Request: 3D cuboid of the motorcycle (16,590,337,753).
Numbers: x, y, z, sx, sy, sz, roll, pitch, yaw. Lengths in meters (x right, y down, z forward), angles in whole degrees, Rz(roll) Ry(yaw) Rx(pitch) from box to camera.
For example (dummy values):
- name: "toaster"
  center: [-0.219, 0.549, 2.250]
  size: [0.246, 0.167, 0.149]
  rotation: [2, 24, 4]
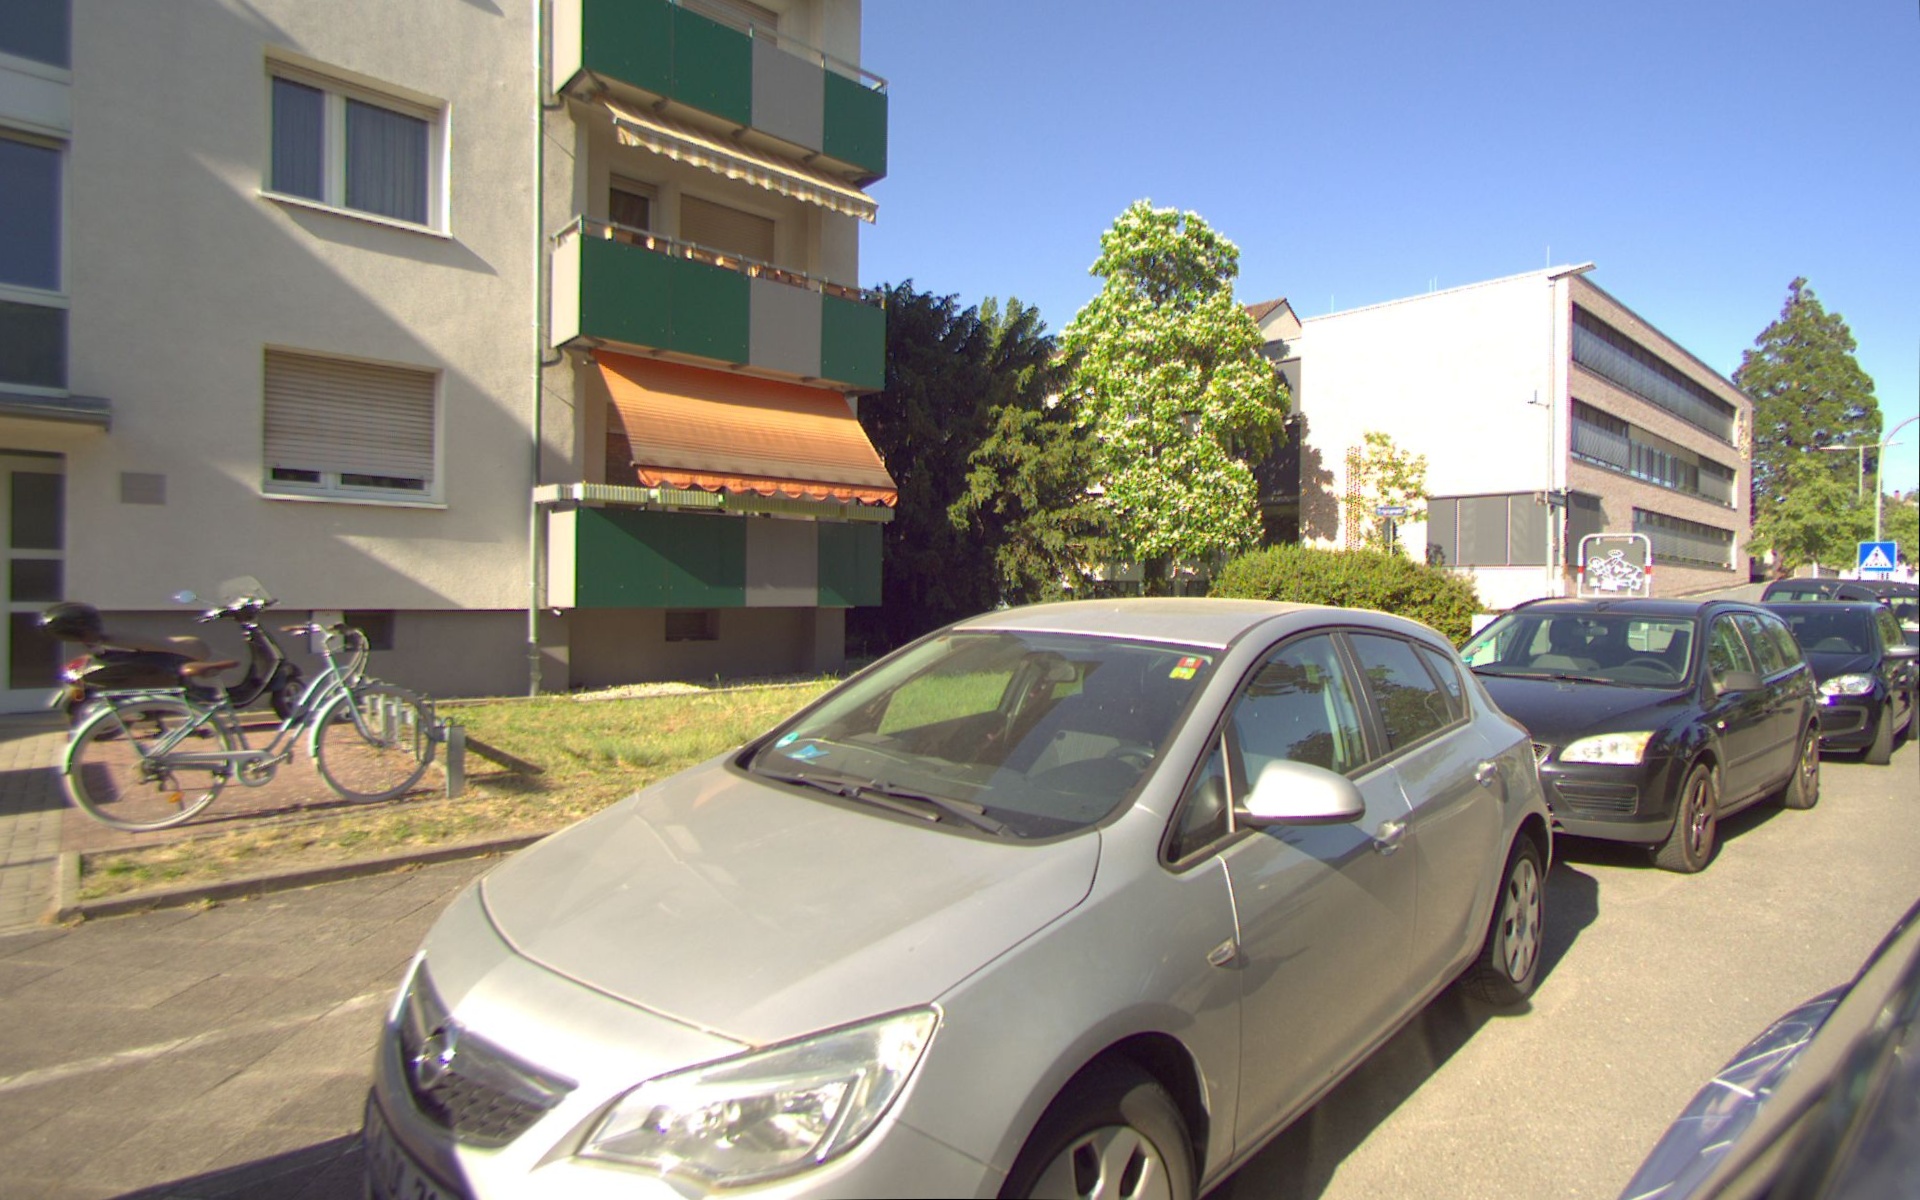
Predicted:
- name: "motorcycle"
  center: [-6.332, 0.508, 8.299]
  size: [0.582, 1.166, 2.009]
  rotation: [1, 1, 39]

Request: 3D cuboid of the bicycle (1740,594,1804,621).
- name: "bicycle"
  center: [36.760, 0.348, 45.834]
  size: [0.845, 1.077, 2.084]
  rotation: [0, 3, -41]

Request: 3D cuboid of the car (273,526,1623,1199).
- name: "car"
  center: [0.567, 0.674, 3.329]
  size: [1.874, 1.553, 4.421]
  rotation: [1, 1, 45]

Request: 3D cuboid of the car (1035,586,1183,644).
- name: "car"
  center: [4.224, 0.383, 29.092]
  size: [1.792, 1.530, 3.975]
  rotation: [0, 1, -43]

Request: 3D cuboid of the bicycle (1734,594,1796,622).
- name: "bicycle"
  center: [35.792, 0.342, 45.018]
  size: [0.868, 1.076, 2.028]
  rotation: [0, 4, -42]

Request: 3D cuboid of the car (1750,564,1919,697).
- name: "car"
  center: [14.175, 0.408, 15.058]
  size: [1.871, 1.812, 4.150]
  rotation: [0, 1, 6]

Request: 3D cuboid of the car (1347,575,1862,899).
- name: "car"
  center: [4.638, 0.635, 6.973]
  size: [4.477, 1.549, 1.773]
  rotation: [0, 1, -41]

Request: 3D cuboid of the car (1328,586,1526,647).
- name: "car"
  center: [12.629, 0.377, 27.566]
  size: [1.876, 1.493, 4.551]
  rotation: [-1, 1, -43]

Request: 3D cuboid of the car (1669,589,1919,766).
- name: "car"
  center: [8.795, 0.654, 10.388]
  size: [3.727, 1.493, 1.661]
  rotation: [0, -1, -42]

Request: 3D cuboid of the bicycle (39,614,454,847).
- name: "bicycle"
  center: [-4.014, 0.649, 5.819]
  size: [1.863, 1.091, 0.721]
  rotation: [0, 0, -40]
